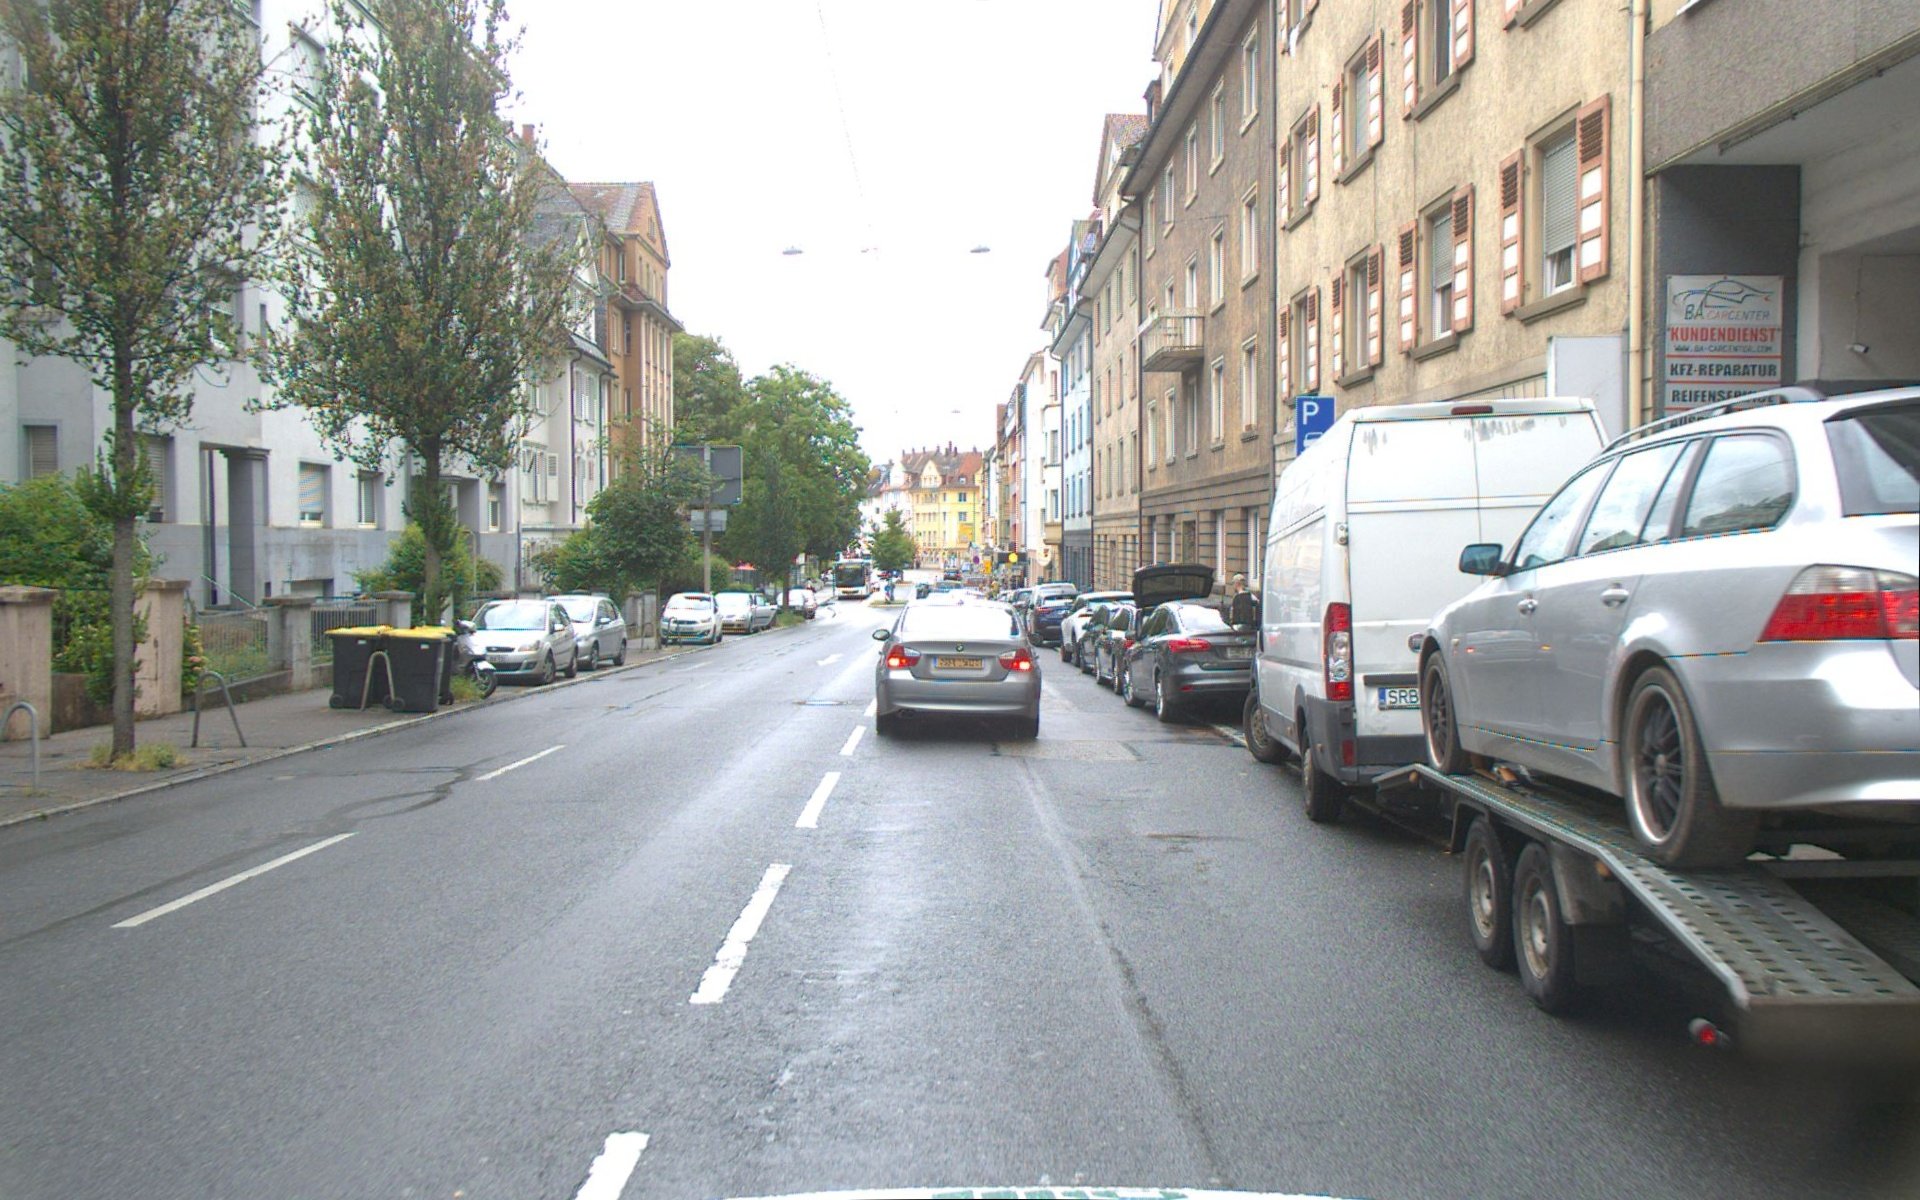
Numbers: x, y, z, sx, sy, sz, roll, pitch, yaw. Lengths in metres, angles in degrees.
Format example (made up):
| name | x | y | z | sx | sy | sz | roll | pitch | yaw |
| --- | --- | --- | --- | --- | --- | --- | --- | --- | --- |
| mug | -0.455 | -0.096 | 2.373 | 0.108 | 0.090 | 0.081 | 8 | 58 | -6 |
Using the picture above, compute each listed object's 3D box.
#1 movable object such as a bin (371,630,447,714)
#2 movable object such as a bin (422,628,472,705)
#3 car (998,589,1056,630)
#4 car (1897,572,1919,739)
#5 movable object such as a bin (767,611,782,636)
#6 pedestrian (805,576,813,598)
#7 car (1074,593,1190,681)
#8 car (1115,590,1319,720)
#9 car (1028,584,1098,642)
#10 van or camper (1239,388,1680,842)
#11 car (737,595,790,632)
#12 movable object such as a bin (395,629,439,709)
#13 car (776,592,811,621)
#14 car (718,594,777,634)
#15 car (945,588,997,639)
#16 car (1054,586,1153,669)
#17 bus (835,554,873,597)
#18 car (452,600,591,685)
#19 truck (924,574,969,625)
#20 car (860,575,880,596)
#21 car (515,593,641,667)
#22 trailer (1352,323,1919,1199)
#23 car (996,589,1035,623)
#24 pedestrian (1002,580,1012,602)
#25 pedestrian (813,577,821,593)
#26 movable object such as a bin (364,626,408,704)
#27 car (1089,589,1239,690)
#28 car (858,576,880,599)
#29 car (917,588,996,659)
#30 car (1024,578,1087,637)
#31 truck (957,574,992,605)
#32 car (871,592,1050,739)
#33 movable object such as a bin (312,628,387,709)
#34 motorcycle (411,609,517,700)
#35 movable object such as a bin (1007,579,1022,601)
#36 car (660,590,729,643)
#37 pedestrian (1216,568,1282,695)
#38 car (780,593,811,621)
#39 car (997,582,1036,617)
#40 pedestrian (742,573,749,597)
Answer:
| name | x | y | z | sx | sy | sz | roll | pitch | yaw |
| --- | --- | --- | --- | --- | --- | --- | --- | --- | --- |
| movable object such as a bin | -7.406 | 0.966 | 22.250 | 0.808 | 1.076 | 0.483 | 3 | -1 | 0 |
| movable object such as a bin | -7.422 | 0.962 | 23.935 | 0.513 | 1.076 | 0.483 | 3 | -1 | 0 |
| car | 2.465 | 0.324 | 61.926 | 1.804 | 1.434 | 4.386 | -2 | 0 | -2 |
| car | 10.028 | 0.437 | 13.637 | 3.581 | 1.415 | 1.896 | -2 | 2 | -6 |
| movable object such as a bin | -8.049 | 1.020 | 71.823 | 0.617 | 1.076 | 0.600 | 0 | -1 | -1 |
| pedestrian | -12.277 | -1.031 | 134.093 | 0.532 | 1.739 | 0.465 | 3 | -1 | -8 |
| car | 3.228 | 0.662 | 31.636 | 1.599 | 1.504 | 3.733 | 3 | 0 | -2 |
| car | 3.188 | 0.652 | 21.346 | 1.742 | 1.505 | 4.186 | 0 | 0 | -4 |
| car | 2.985 | 0.345 | 48.696 | 1.754 | 1.575 | 4.225 | -1 | 0 | 0 |
| van or camper | 3.578 | 0.074 | 13.296 | 2.138 | 2.746 | 6.424 | 0 | 0 | 5 |
| car | -7.822 | 0.506 | 66.131 | 1.648 | 1.414 | 3.935 | -1 | 0 | 0 |
| movable object such as a bin | -7.574 | 0.957 | 23.090 | 0.462 | 1.076 | 0.482 | 3 | -1 | -10 |
| car | -8.651 | 0.325 | 86.125 | 1.620 | 1.479 | 3.940 | 0 | 0 | -3 |
| car | -7.769 | 0.491 | 60.757 | 1.648 | 1.414 | 3.909 | 1 | 0 | 0 |
| car | 0.336 | 0.398 | 48.827 | 1.406 | 1.380 | 3.762 | 3 | -1 | 1 |
| car | 3.169 | 0.580 | 37.211 | 1.599 | 1.667 | 4.193 | 3 | 0 | -2 |
| bus | -8.902 | -1.985 | 139.905 | 2.627 | 3.256 | 11.950 | 3 | -1 | -2 |
| car | -7.884 | 0.741 | 30.026 | 1.568 | 1.421 | 3.886 | 0 | -1 | -2 |
| truck | -0.763 | 0.010 | 89.474 | 2.172 | 2.588 | 4.778 | 3 | -1 | -2 |
| car | -9.549 | -1.576 | 175.696 | 1.953 | 2.049 | 3.998 | 3 | -1 | -2 |
| car | -8.037 | 0.623 | 35.111 | 1.567 | 1.476 | 3.889 | 0 | -1 | 3 |
| trailer | 3.083 | 0.347 | 6.538 | 1.952 | 2.189 | 5.074 | -2 | 1 | 2 |
| car | 2.764 | 0.280 | 83.143 | 1.781 | 1.585 | 4.292 | -1 | 0 | 0 |
| pedestrian | 3.788 | -0.722 | 134.195 | 0.734 | 1.690 | 0.755 | 3 | -1 | 2 |
| pedestrian | -12.942 | -1.315 | 149.461 | 0.607 | 1.402 | 0.544 | 3 | -1 | 0 |
| movable object such as a bin | -8.196 | 0.929 | 23.644 | 0.462 | 1.076 | 0.482 | 3 | -1 | -10 |
| car | 3.230 | 0.606 | 27.030 | 1.742 | 1.505 | 4.586 | 0 | 0 | -2 |
| car | -8.845 | -1.201 | 160.537 | 1.954 | 2.048 | 3.998 | 4 | -1 | -2 |
| car | -0.116 | 0.520 | 37.527 | 1.570 | 1.445 | 3.285 | 3 | -1 | -3 |
| car | 3.156 | 0.233 | 55.181 | 1.754 | 1.849 | 4.079 | -1 | 0 | -1 |
| truck | 1.113 | -0.796 | 126.577 | 2.172 | 2.153 | 4.648 | 4 | 0 | -4 |
| car | -0.019 | 0.661 | 17.826 | 1.720 | 1.386 | 3.164 | 2 | -1 | -1 |
| movable object such as a bin | -8.370 | 0.932 | 22.684 | 0.808 | 1.076 | 0.483 | 2 | -1 | 0 |
| motorcycle | -7.656 | 0.814 | 25.493 | 1.778 | 1.338 | 0.738 | 0 | 0 | 41 |
| movable object such as a bin | 4.422 | -0.816 | 133.778 | 1.100 | 1.732 | 1.433 | -1 | -1 | -3 |
| car | -8.087 | 0.504 | 50.673 | 1.613 | 1.534 | 3.795 | 1 | -1 | -2 |
| pedestrian | 4.257 | 0.460 | 24.334 | 0.698 | 1.818 | 0.685 | -2 | -1 | 31 |
| car | -8.996 | 0.376 | 90.469 | 1.600 | 1.479 | 3.836 | 1 | 0 | -5 |
| car | 2.547 | -0.033 | 75.269 | 1.551 | 1.454 | 3.594 | -2 | 0 | -1 |
| pedestrian | -16.514 | -1.118 | 127.512 | 0.456 | 1.821 | 0.543 | 3 | -1 | -8 |
